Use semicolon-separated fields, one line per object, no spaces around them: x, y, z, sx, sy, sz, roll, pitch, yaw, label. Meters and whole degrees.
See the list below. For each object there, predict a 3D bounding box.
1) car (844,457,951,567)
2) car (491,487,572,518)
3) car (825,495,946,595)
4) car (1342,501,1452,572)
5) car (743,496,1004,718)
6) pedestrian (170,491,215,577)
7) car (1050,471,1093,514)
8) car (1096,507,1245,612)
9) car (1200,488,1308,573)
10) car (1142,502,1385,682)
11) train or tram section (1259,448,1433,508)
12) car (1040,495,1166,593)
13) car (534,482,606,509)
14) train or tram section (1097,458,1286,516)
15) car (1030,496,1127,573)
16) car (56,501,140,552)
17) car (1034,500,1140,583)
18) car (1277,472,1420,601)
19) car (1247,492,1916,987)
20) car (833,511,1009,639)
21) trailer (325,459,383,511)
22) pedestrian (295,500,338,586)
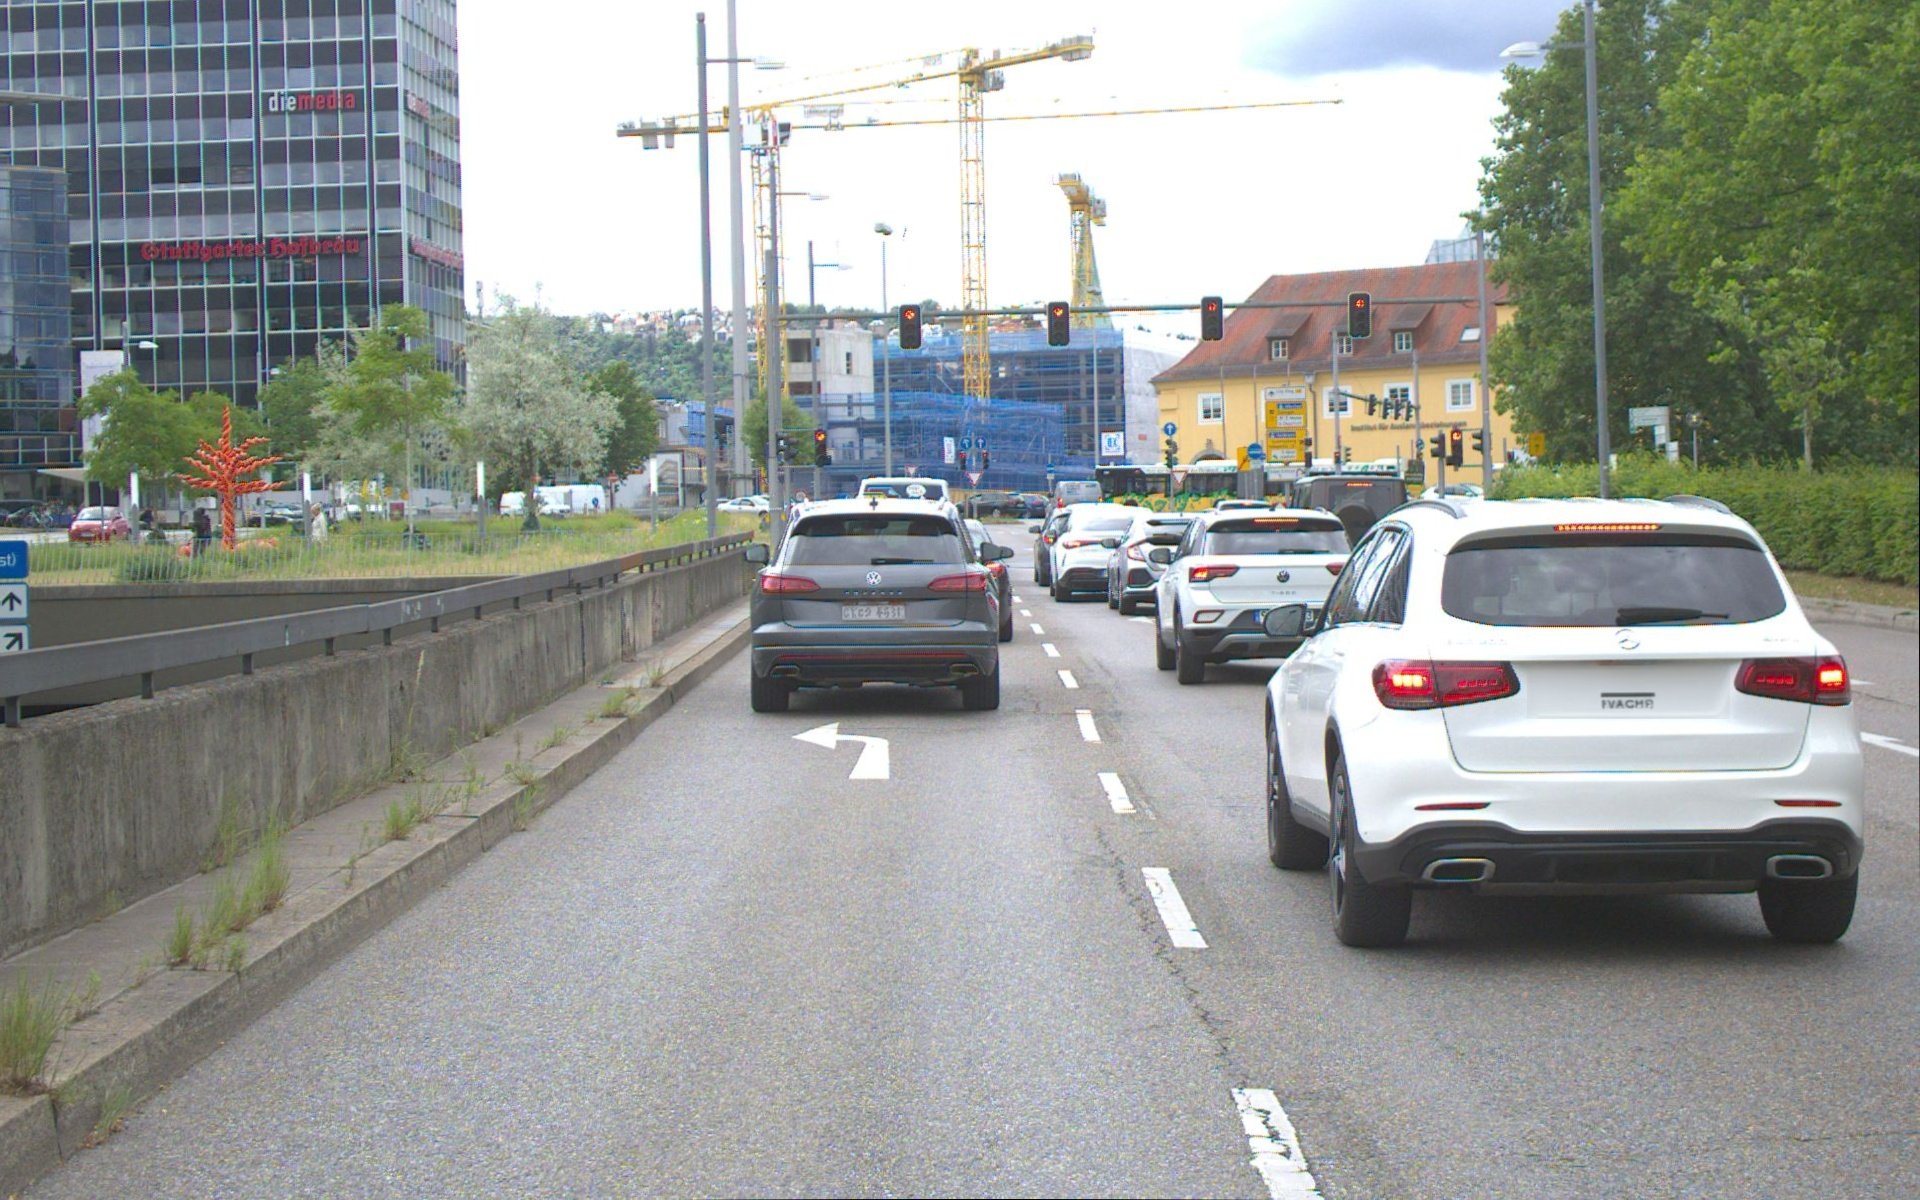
-1.184;-1.692;65.532;1.951;2.011;3.931;1;2;-1;car
-22.911;-5.189;183.865;4.108;1.605;1.826;1;1;35;car
-1.240;-0.960;58.084;1.951;1.594;3.931;1;2;-1;car
9.221;-1.355;72.843;1.757;1.442;3.634;1;1;-2;car
-0.676;-0.009;27.989;1.951;1.645;4.001;1;2;-1;car
-18.244;-1.582;81.764;0.790;2.006;0.837;-3;3;-27;pedestrian
4.489;-4.309;138.413;1.619;1.621;4.000;1;1;1;car
2.975;-0.602;49.291;1.926;1.427;4.490;0;1;1;car
6.102;-1.453;71.762;1.910;1.691;4.012;1;1;1;car
2.730;-0.118;31.834;1.926;1.545;4.490;0;1;1;car
19.977;-6.281;178.451;8.942;2.999;2.591;1;1;39;train or tram section
2.288;-0.921;56.013;1.926;1.524;4.490;0;1;1;car
-23.438;-6.255;206.480;3.994;1.563;1.833;1;1;33;car
12.365;-6.031;184.429;10.418;2.999;2.591;1;1;37;train or tram section
2.427;-1.360;71.116;1.926;1.524;4.048;0;1;1;car
-32.719;-2.804;130.593;2.174;1.848;4.737;-1;2;-3;car
2.364;-1.113;64.832;1.926;1.524;4.048;0;1;1;car
6.346;-1.051;56.507;1.910;2.007;4.012;1;1;1;car
2.263;0.420;13.736;1.926;1.648;4.490;0;1;1;car
-0.457;-0.327;40.293;1.951;1.379;3.931;1;2;-1;car
-31.366;-5.976;178.100;2.037;2.595;5.509;1;3;0;trailer
-15.364;-1.365;82.100;0.860;2.006;0.629;-1;3;-1;pedestrian
